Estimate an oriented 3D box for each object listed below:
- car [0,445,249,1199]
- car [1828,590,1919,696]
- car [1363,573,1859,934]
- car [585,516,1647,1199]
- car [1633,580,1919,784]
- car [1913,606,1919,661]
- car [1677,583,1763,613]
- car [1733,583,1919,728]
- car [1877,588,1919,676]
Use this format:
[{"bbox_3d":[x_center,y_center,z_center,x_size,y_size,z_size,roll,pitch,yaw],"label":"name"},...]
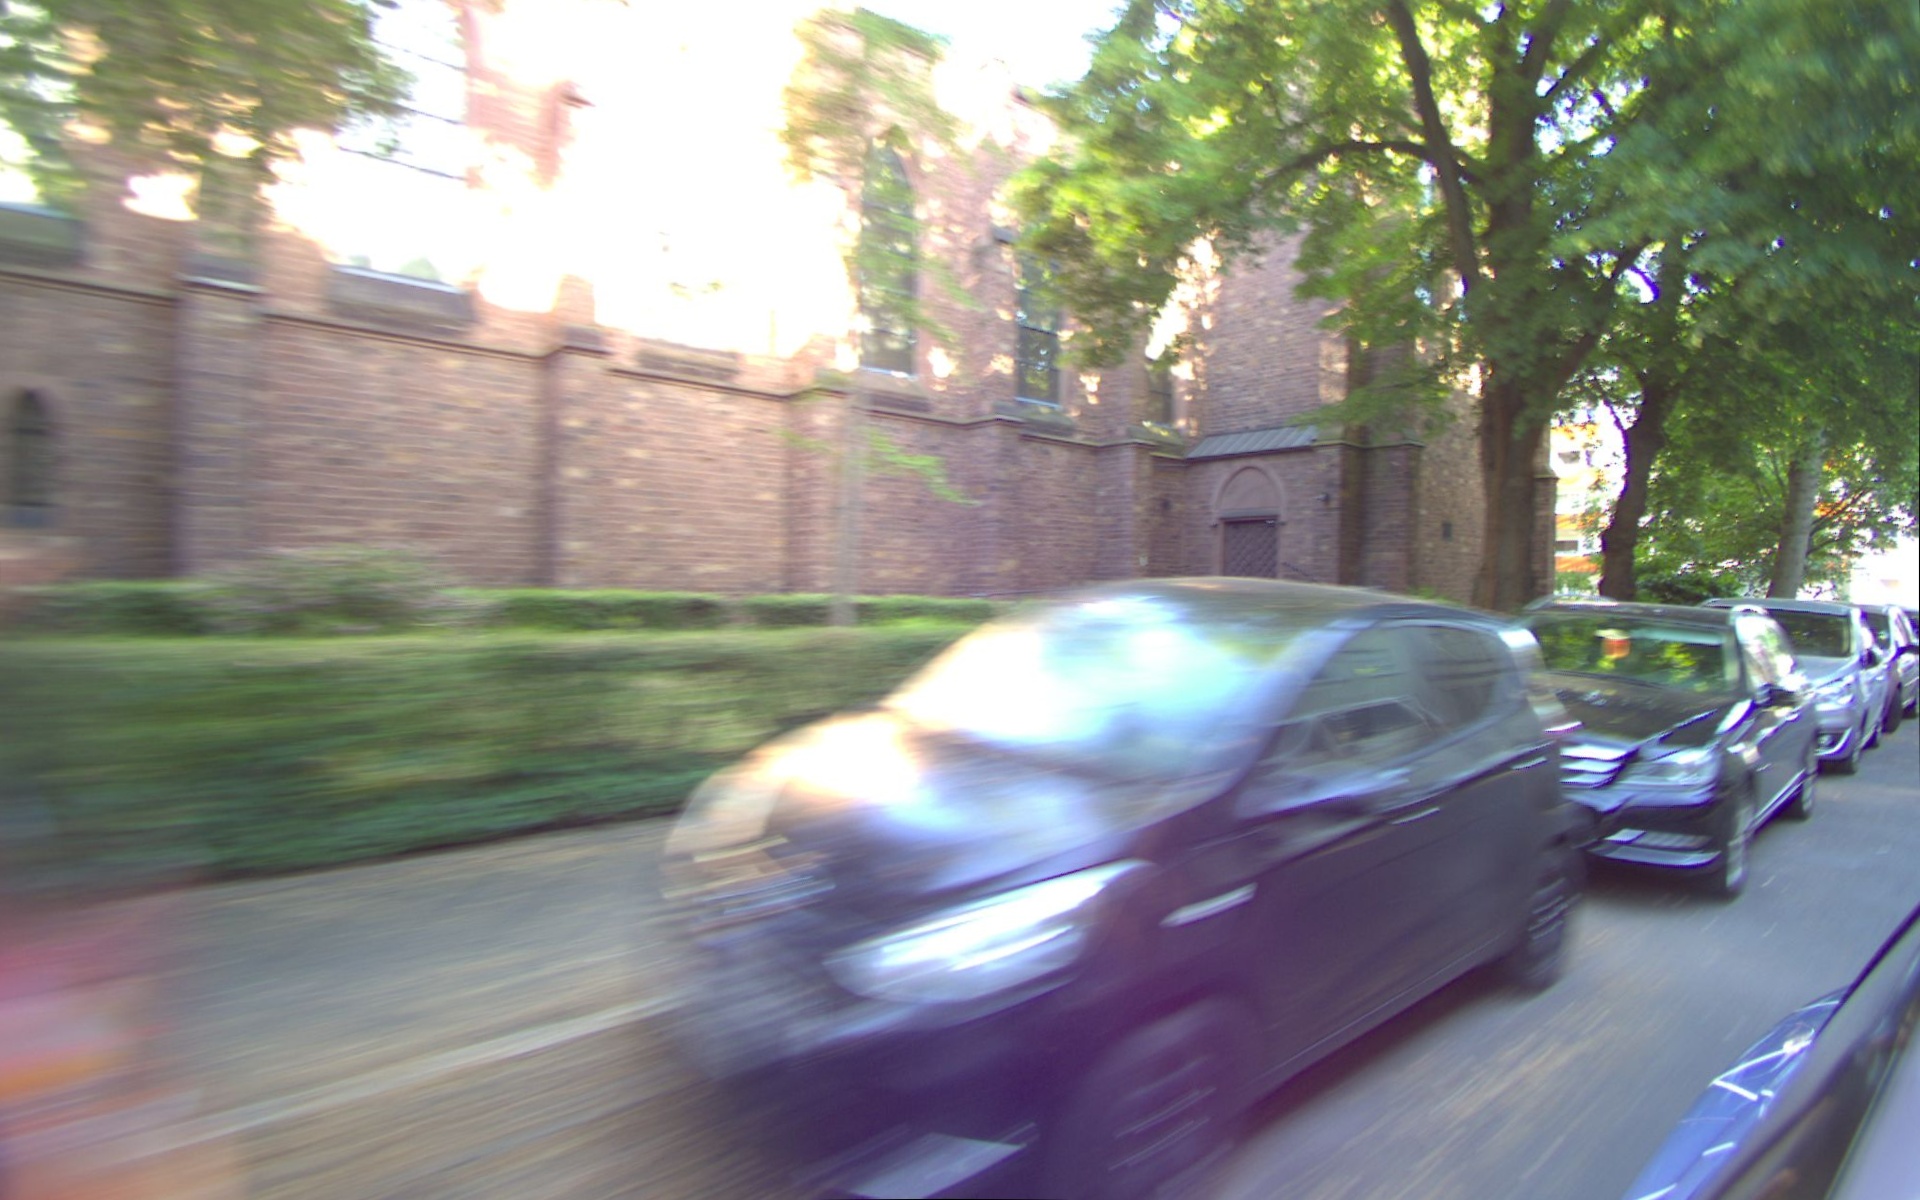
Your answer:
[{"bbox_3d":[-2.744,0.615,0.429,3.801,1.643,1.621,-1,7,-45],"label":"car"},{"bbox_3d":[15.410,0.626,16.225,3.801,1.488,1.603,-1,4,-40],"label":"car"},{"bbox_3d":[4.518,0.621,6.653,4.619,1.458,1.678,-1,7,-45],"label":"car"},{"bbox_3d":[0.834,0.568,3.585,3.710,1.503,1.623,-1,6,-41],"label":"car"},{"bbox_3d":[8.191,0.637,9.994,3.565,1.522,1.603,-1,6,-42],"label":"car"},{"bbox_3d":[22.691,0.571,22.385,4.026,1.604,1.670,0,6,-39],"label":"car"},{"bbox_3d":[43.100,-0.128,57.438,1.621,1.577,3.693,-3,3,-41],"label":"car"},{"bbox_3d":[11.492,0.592,13.036,3.500,1.485,1.604,-1,6,-40],"label":"car"},{"bbox_3d":[18.897,0.623,19.224,3.654,1.522,1.604,-1,6,-40],"label":"car"}]
